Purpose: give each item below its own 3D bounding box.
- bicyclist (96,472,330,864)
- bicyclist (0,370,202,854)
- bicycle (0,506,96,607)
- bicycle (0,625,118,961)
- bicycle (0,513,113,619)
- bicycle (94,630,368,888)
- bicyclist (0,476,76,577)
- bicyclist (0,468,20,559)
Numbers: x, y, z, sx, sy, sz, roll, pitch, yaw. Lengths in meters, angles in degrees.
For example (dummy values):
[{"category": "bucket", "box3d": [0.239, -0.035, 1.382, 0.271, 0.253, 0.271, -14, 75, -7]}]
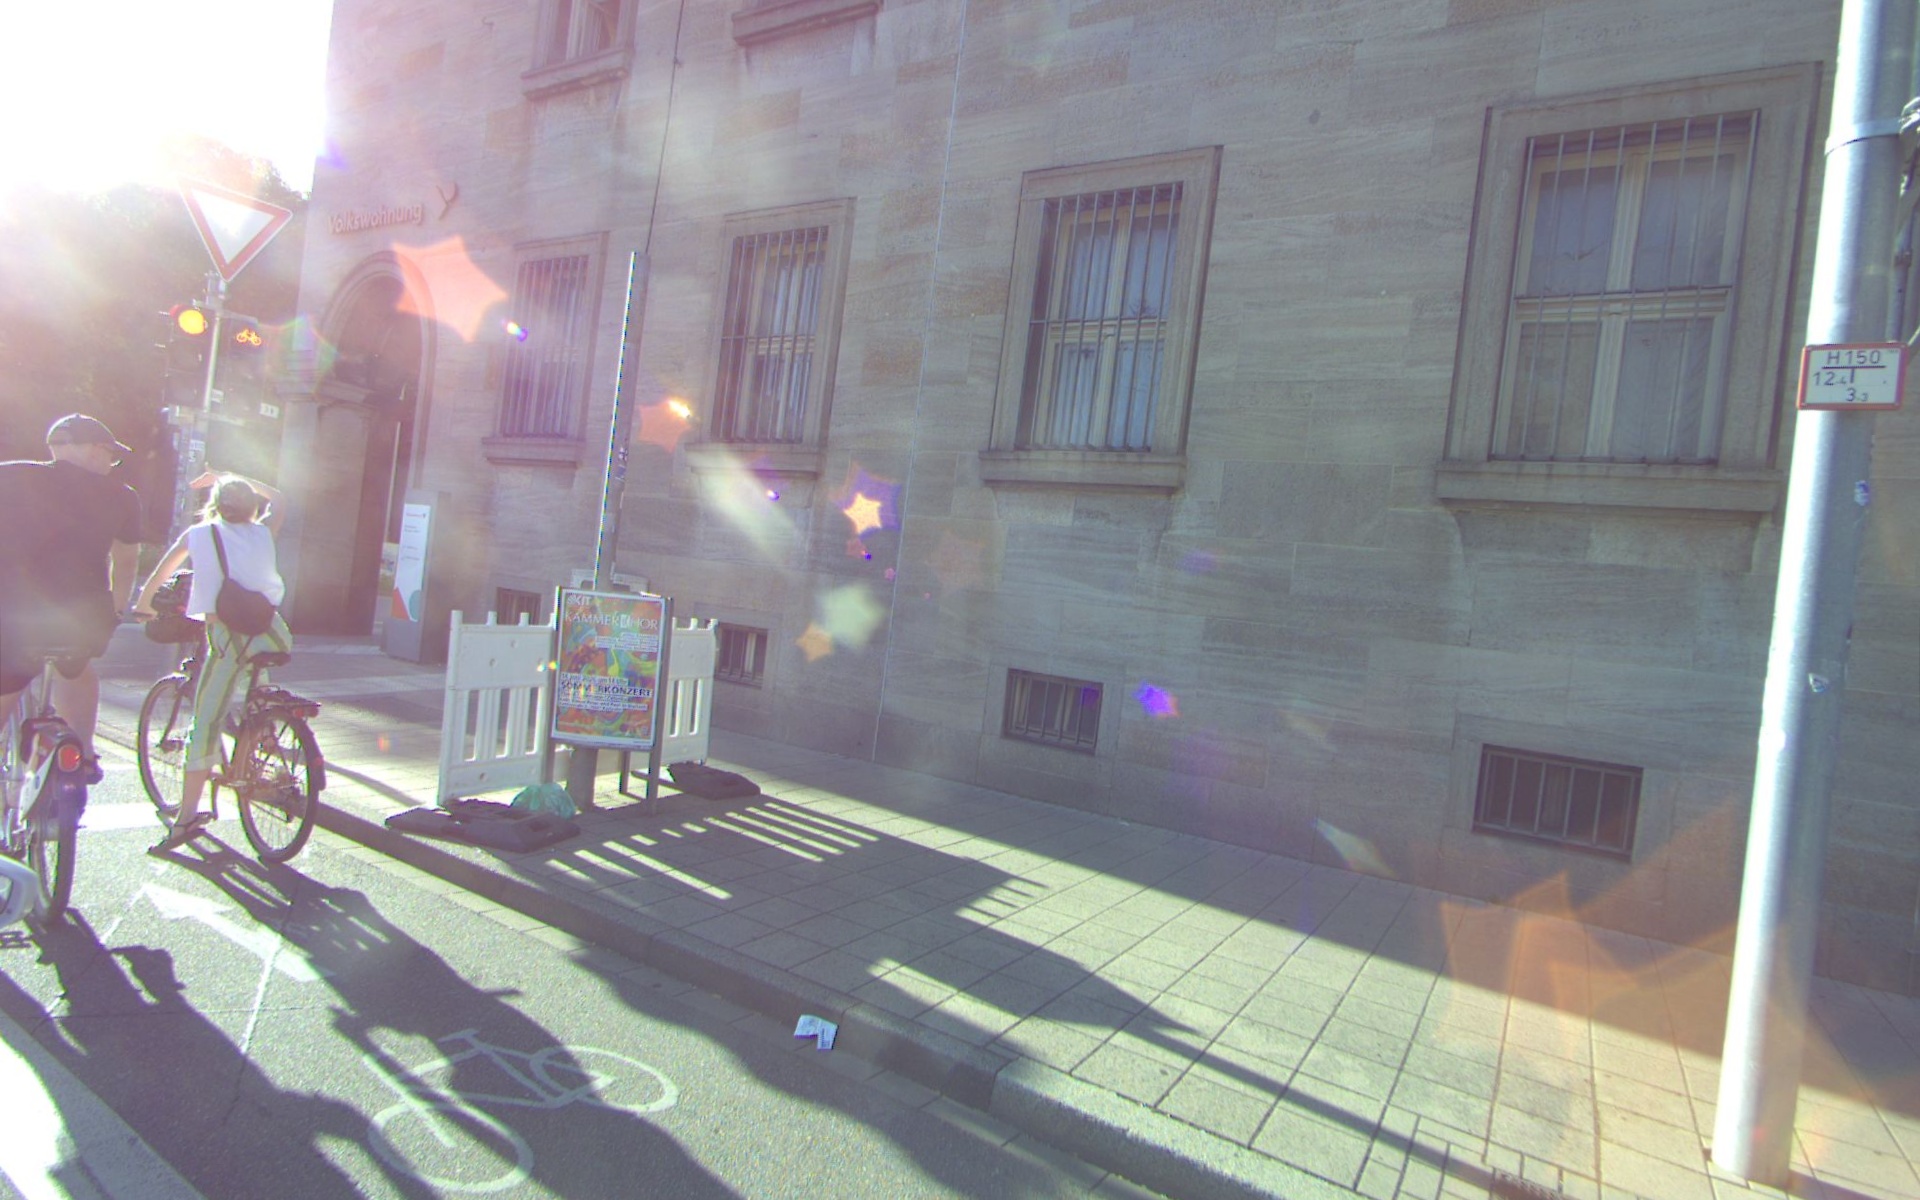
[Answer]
[{"category": "bicyclist", "box3d": [-3.594, 0.288, 4.835, 0.845, 1.700, 0.522, 7, 1, 35]}, {"category": "bicyclist", "box3d": [-3.508, 0.045, 3.868, 0.647, 1.698, 0.669, 7, 1, 38]}, {"category": "bicycle", "box3d": [-13.607, -0.668, 14.135, 0.778, 1.307, 1.989, 7, -1, 30]}, {"category": "bicycle", "box3d": [-3.796, 0.647, 3.941, 1.923, 0.916, 0.388, 7, 0, 41]}, {"category": "bicycle", "box3d": [-12.763, -0.484, 13.528, 0.778, 1.307, 1.855, 7, -1, 28]}, {"category": "bicycle", "box3d": [-3.673, 0.712, 5.000, 1.920, 0.887, 0.427, 7, 0, 35]}, {"category": "bicyclist", "box3d": [-12.714, -1.008, 13.541, 0.783, 1.233, 0.927, 7, 0, 29]}, {"category": "bicyclist", "box3d": [-13.682, -1.254, 13.918, 0.784, 1.233, 0.721, 7, 0, 31]}]
